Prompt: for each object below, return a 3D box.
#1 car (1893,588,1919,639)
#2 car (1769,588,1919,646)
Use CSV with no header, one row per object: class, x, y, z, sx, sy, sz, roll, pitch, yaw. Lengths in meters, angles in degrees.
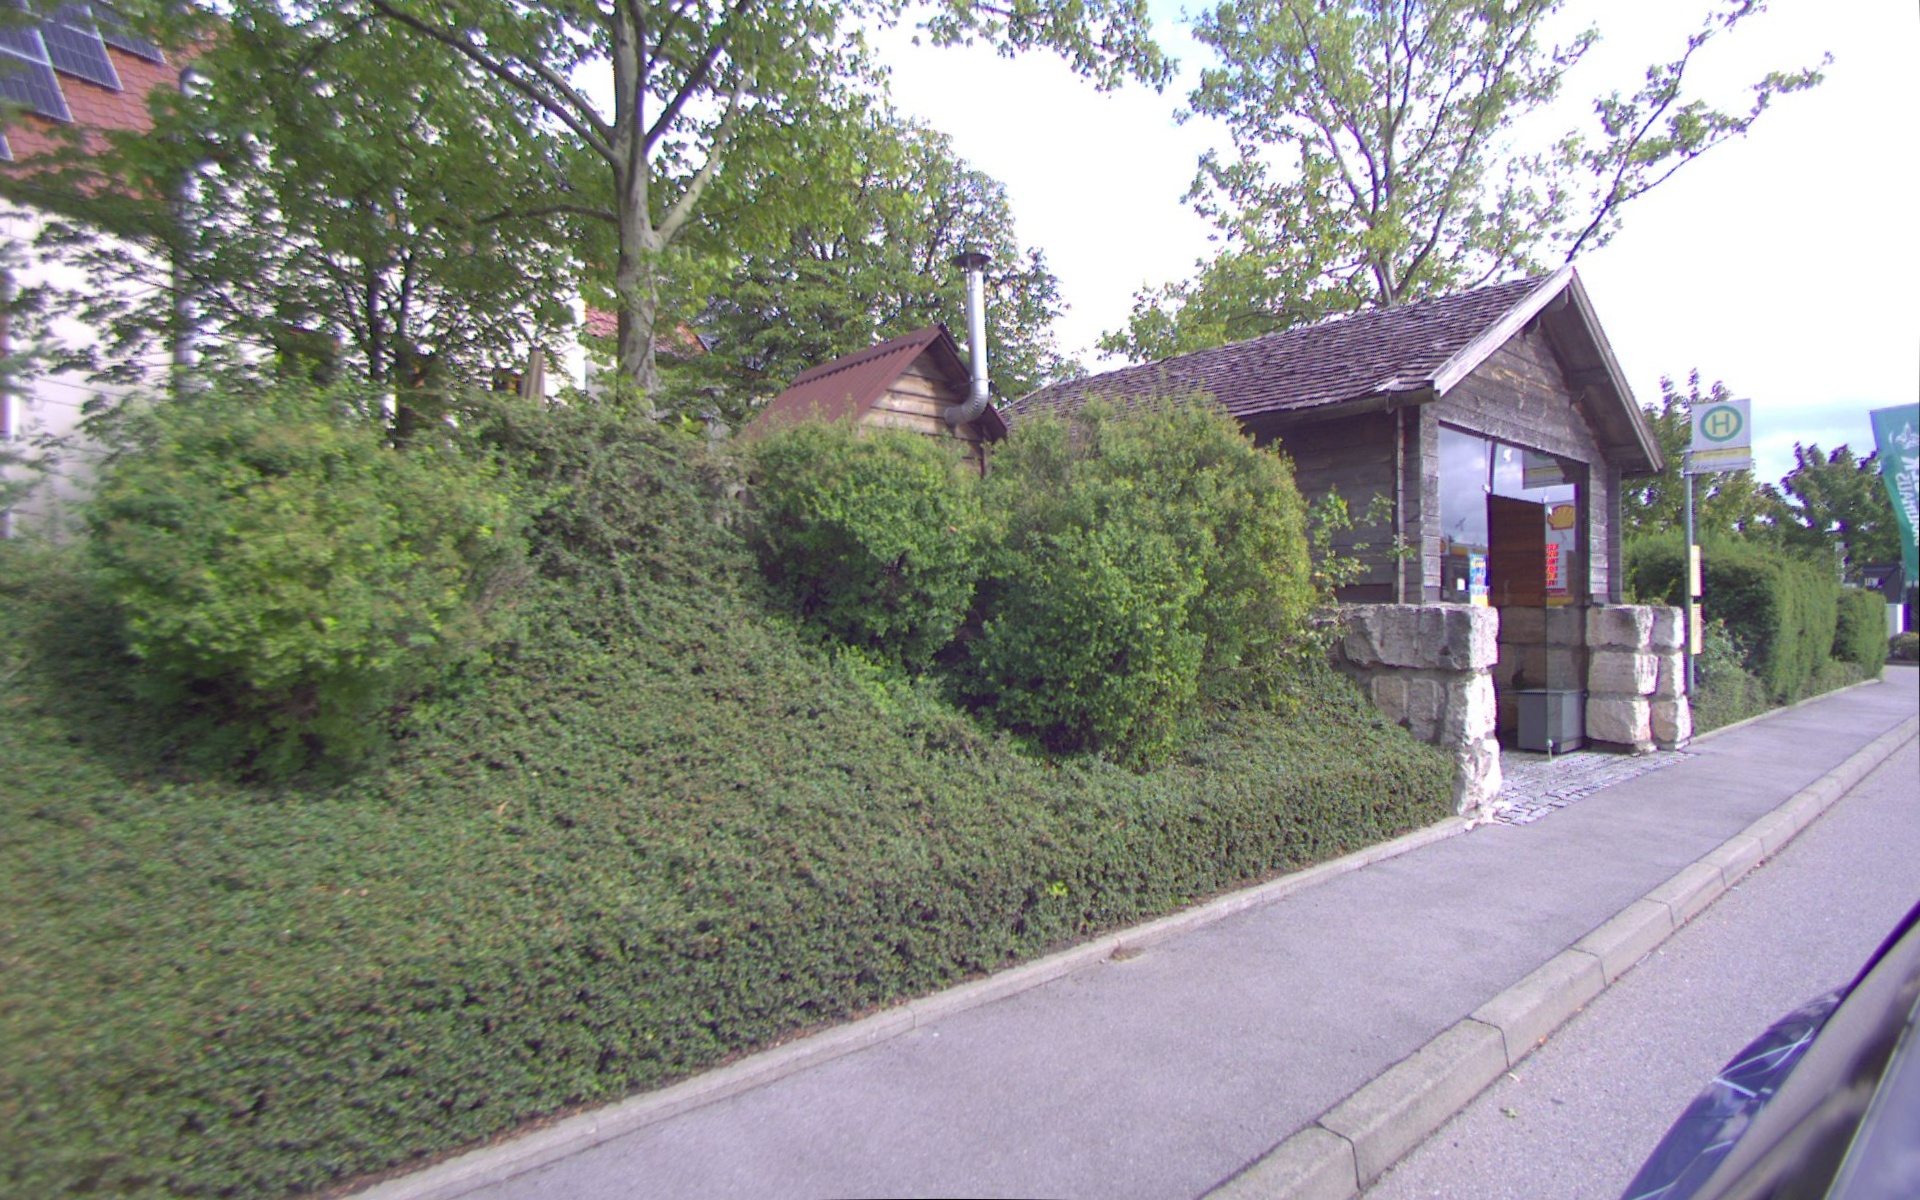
car,33.757,0.437,33.183,1.624,1.738,4.366,0,-1,-32
car,29.173,0.506,32.445,1.880,1.717,4.686,-1,1,-28
